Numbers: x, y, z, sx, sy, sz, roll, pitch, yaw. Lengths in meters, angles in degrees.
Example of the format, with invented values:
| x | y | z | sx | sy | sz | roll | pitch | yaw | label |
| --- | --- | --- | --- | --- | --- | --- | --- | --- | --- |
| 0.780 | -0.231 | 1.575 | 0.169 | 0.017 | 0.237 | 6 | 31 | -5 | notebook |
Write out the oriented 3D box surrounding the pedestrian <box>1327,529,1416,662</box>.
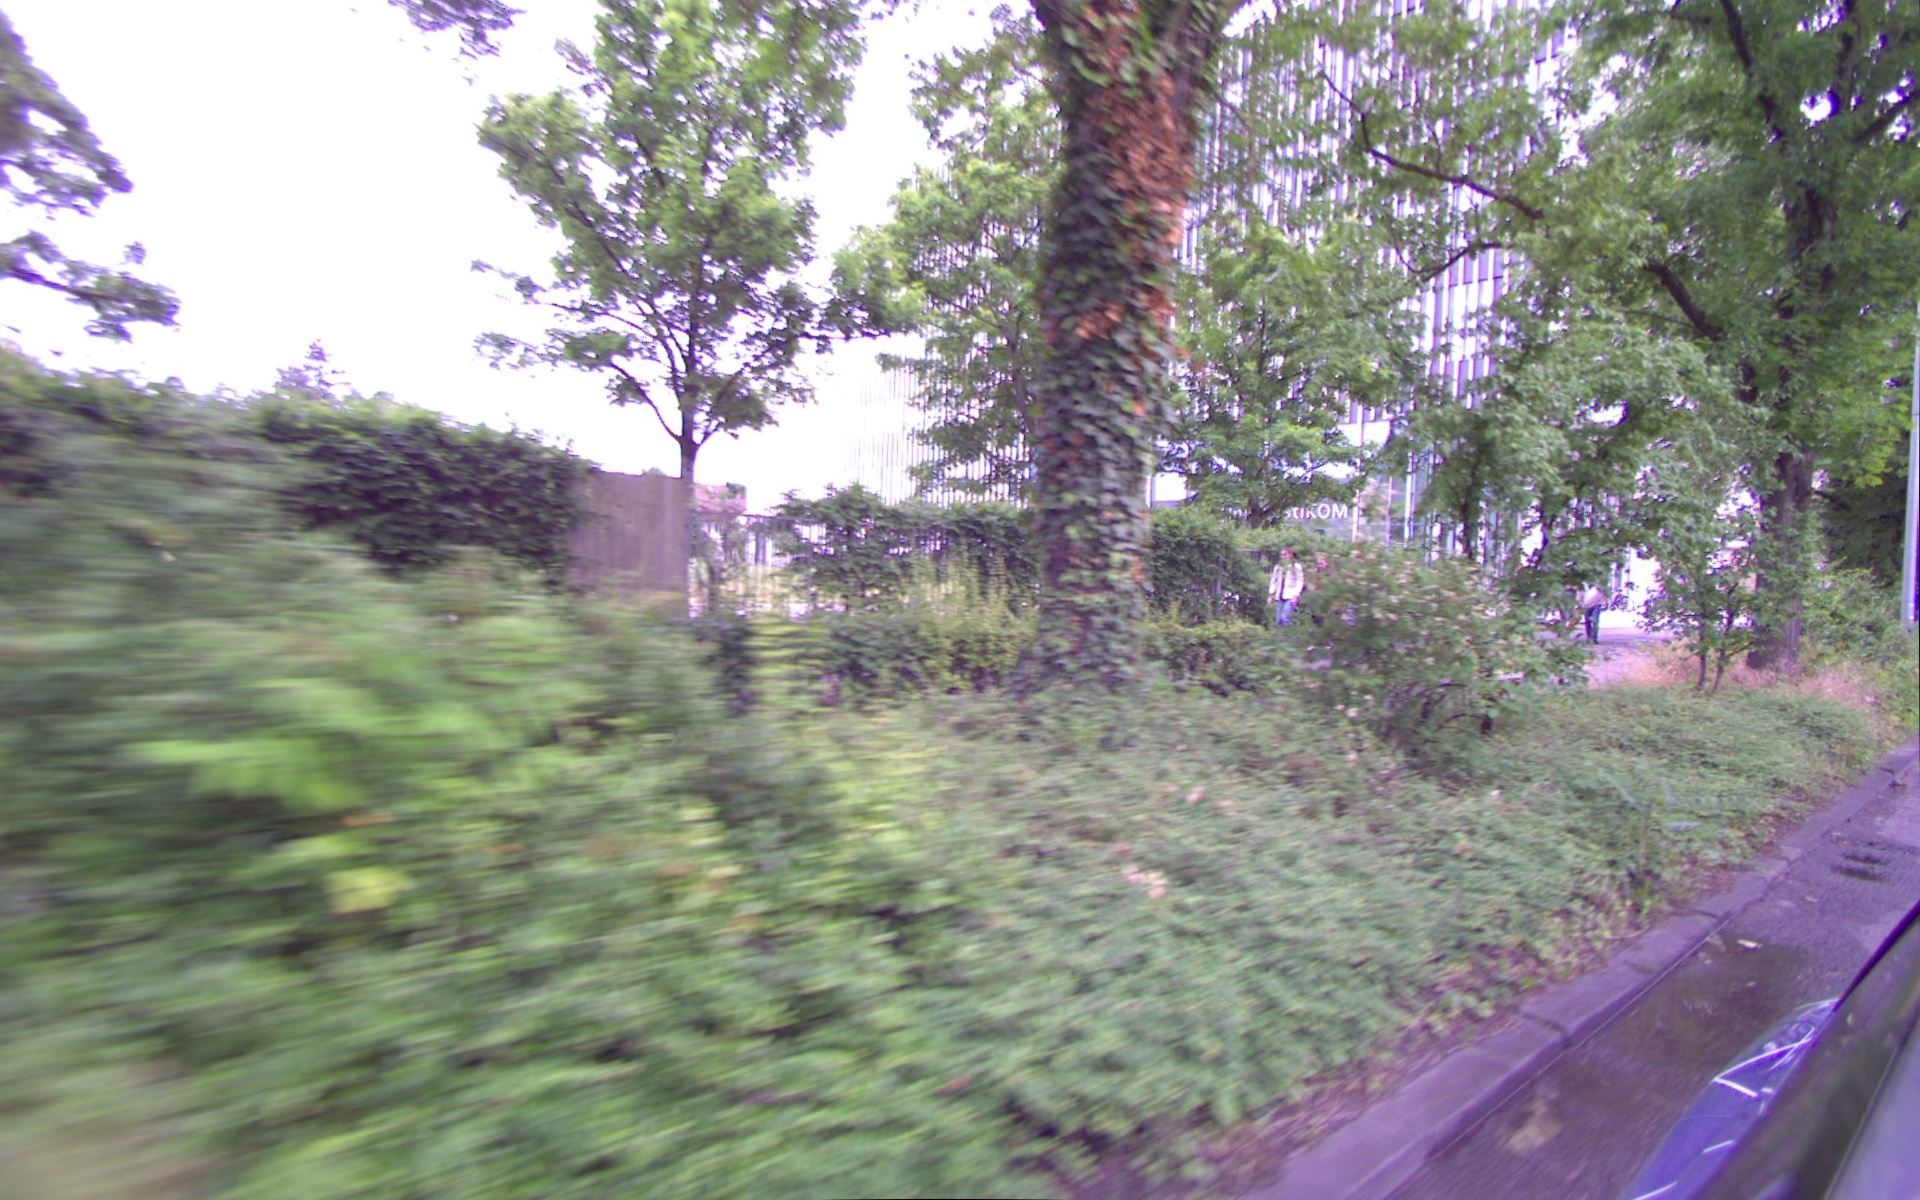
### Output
| x | y | z | sx | sy | sz | roll | pitch | yaw | label |
| --- | --- | --- | --- | --- | --- | --- | --- | --- | --- |
| 6.621 | -0.091 | 16.274 | 1.023 | 2.038 | 0.926 | 0 | 3 | -45 | pedestrian |

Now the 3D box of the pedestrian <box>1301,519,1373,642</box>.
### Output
| x | y | z | sx | sy | sz | roll | pitch | yaw | label |
| --- | --- | --- | --- | --- | --- | --- | --- | --- | --- |
| 6.492 | -0.350 | 17.445 | 0.708 | 2.038 | 0.826 | 0 | 4 | -41 | pedestrian |

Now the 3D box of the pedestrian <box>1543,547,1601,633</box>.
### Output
| x | y | z | sx | sy | sz | roll | pitch | yaw | label |
| --- | --- | --- | --- | --- | --- | --- | --- | --- | --- |
| 15.017 | -0.253 | 24.821 | 1.023 | 2.038 | 0.926 | 0 | 3 | -45 | pedestrian |

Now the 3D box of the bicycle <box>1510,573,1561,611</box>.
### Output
| x | y | z | sx | sy | sz | roll | pitch | yaw | label |
| --- | --- | --- | --- | --- | --- | --- | --- | --- | --- |
| 22.298 | -0.322 | 39.255 | 0.453 | 1.349 | 1.657 | 1 | 4 | -27 | bicycle |

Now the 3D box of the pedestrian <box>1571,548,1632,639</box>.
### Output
| x | y | z | sx | sy | sz | roll | pitch | yaw | label |
| --- | --- | --- | --- | --- | --- | --- | --- | --- | --- |
| 14.994 | -0.160 | 23.638 | 1.023 | 2.038 | 0.926 | 0 | 3 | -45 | pedestrian |

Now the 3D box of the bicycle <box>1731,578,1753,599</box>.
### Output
| x | y | z | sx | sy | sz | roll | pitch | yaw | label |
| --- | --- | --- | --- | --- | --- | --- | --- | --- | --- |
| 44.201 | -0.656 | 57.222 | 0.636 | 1.154 | 2.165 | 7 | 6 | 44 | bicycle |

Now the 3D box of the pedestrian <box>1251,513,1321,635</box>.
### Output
| x | y | z | sx | sy | sz | roll | pitch | yaw | label |
| --- | --- | --- | --- | --- | --- | --- | --- | --- | --- |
| 5.609 | -0.455 | 17.420 | 0.708 | 2.038 | 0.825 | 0 | 3 | -41 | pedestrian |
